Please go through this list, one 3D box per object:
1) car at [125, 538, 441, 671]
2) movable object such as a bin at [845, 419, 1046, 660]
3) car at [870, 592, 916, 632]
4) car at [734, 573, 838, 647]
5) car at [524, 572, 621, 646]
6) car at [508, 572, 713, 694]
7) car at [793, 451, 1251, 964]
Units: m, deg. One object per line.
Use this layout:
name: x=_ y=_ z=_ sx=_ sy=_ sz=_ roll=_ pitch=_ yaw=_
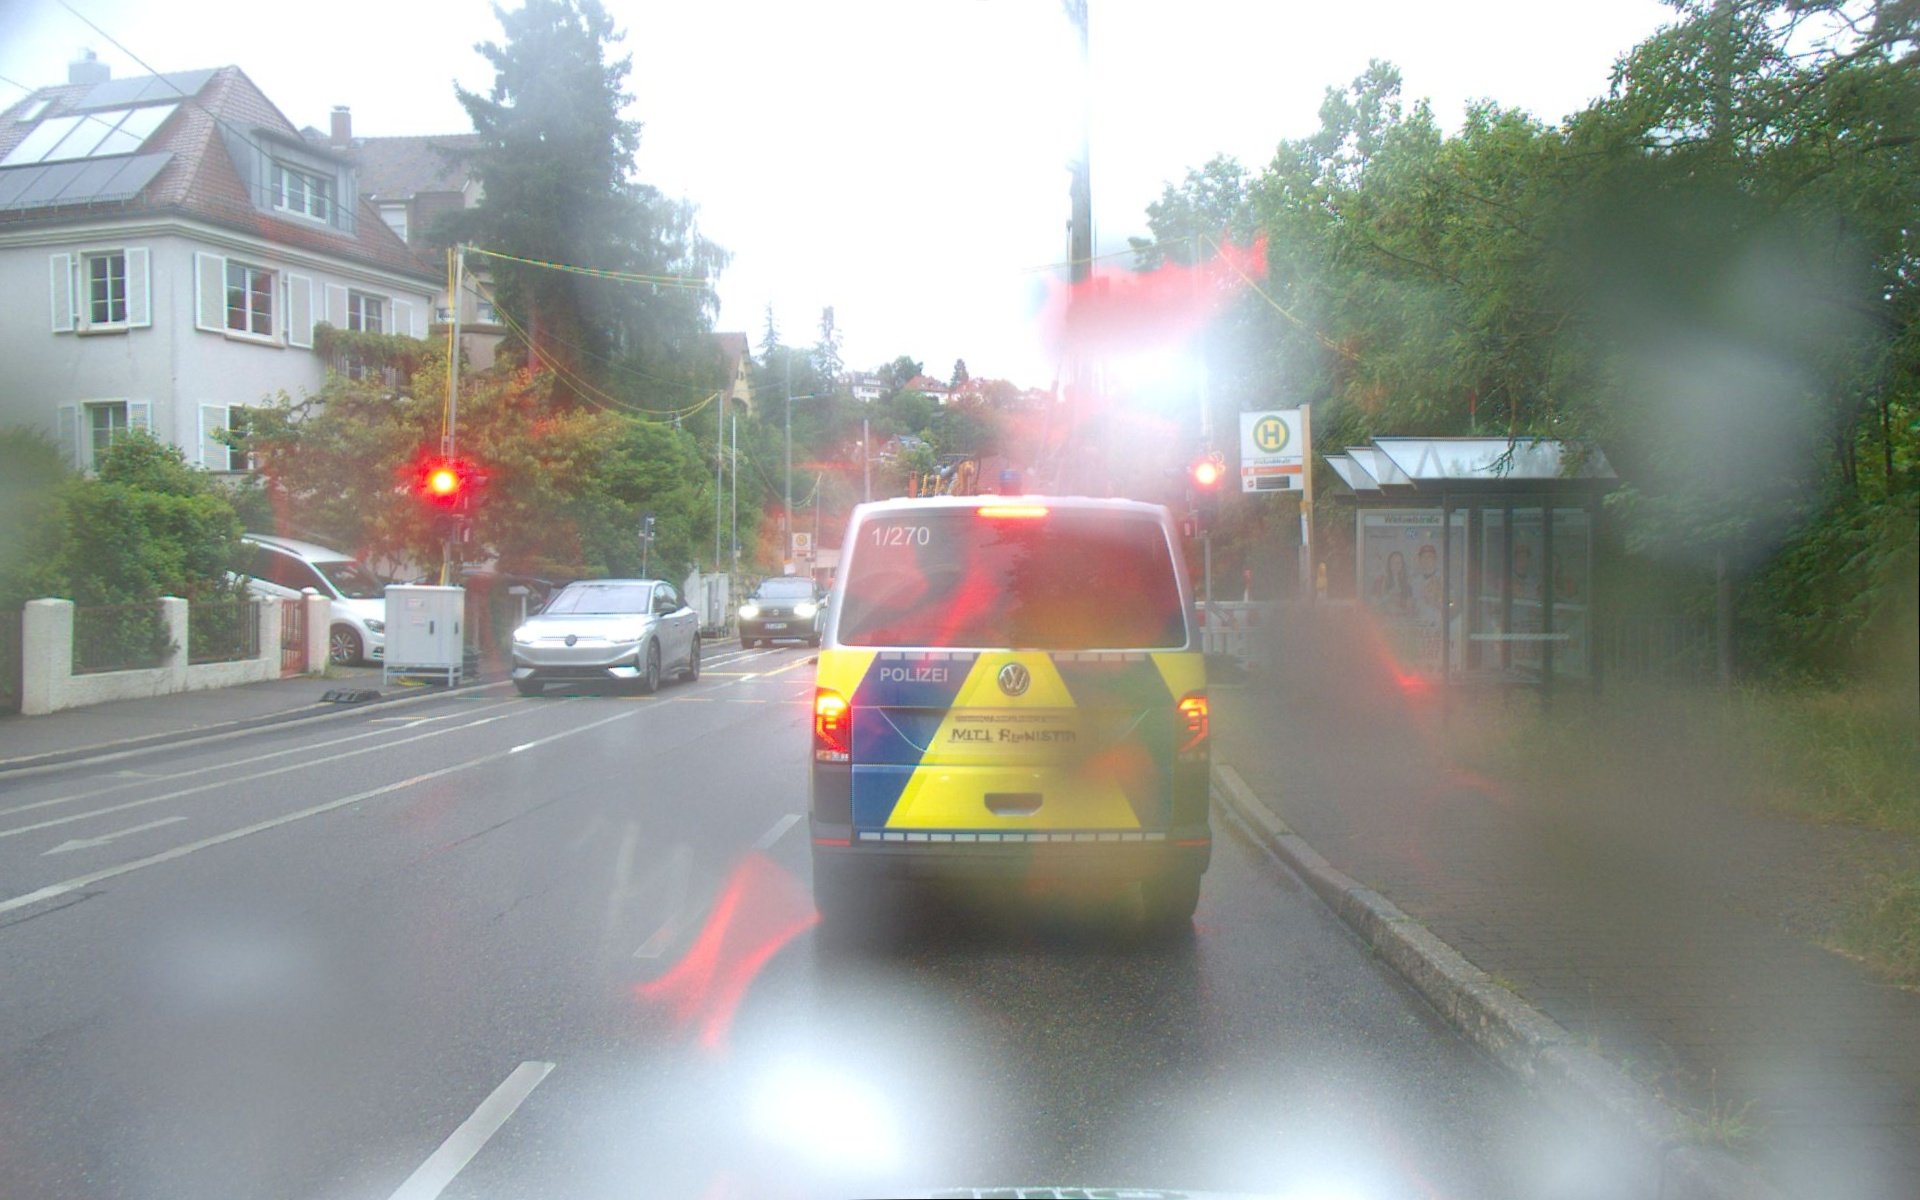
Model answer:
car: x=-11.205 y=0.051 z=27.492 sx=4.532 sy=2.042 sz=1.902 roll=1 pitch=0 yaw=11
movable object such as a bin: x=-0.162 y=-1.101 z=31.640 sx=2.770 sy=4.250 sz=4.384 roll=1 pitch=0 yaw=14
car: x=-2.615 y=0.439 z=65.413 sx=1.728 sy=1.488 sz=3.885 roll=1 pitch=1 yaw=-1
car: x=-4.085 y=0.217 z=39.483 sx=1.828 sy=1.650 sz=4.166 roll=1 pitch=0 yaw=3
car: x=-8.907 y=0.169 z=37.831 sx=1.739 sy=1.512 sz=3.721 roll=1 pitch=2 yaw=-20
car: x=-4.857 y=0.435 z=23.699 sx=1.814 sy=1.554 sz=4.820 roll=0 pitch=0 yaw=1
car: x=0.230 y=0.432 z=8.823 sx=1.855 sy=2.086 sz=3.999 roll=1 pitch=0 yaw=-1
